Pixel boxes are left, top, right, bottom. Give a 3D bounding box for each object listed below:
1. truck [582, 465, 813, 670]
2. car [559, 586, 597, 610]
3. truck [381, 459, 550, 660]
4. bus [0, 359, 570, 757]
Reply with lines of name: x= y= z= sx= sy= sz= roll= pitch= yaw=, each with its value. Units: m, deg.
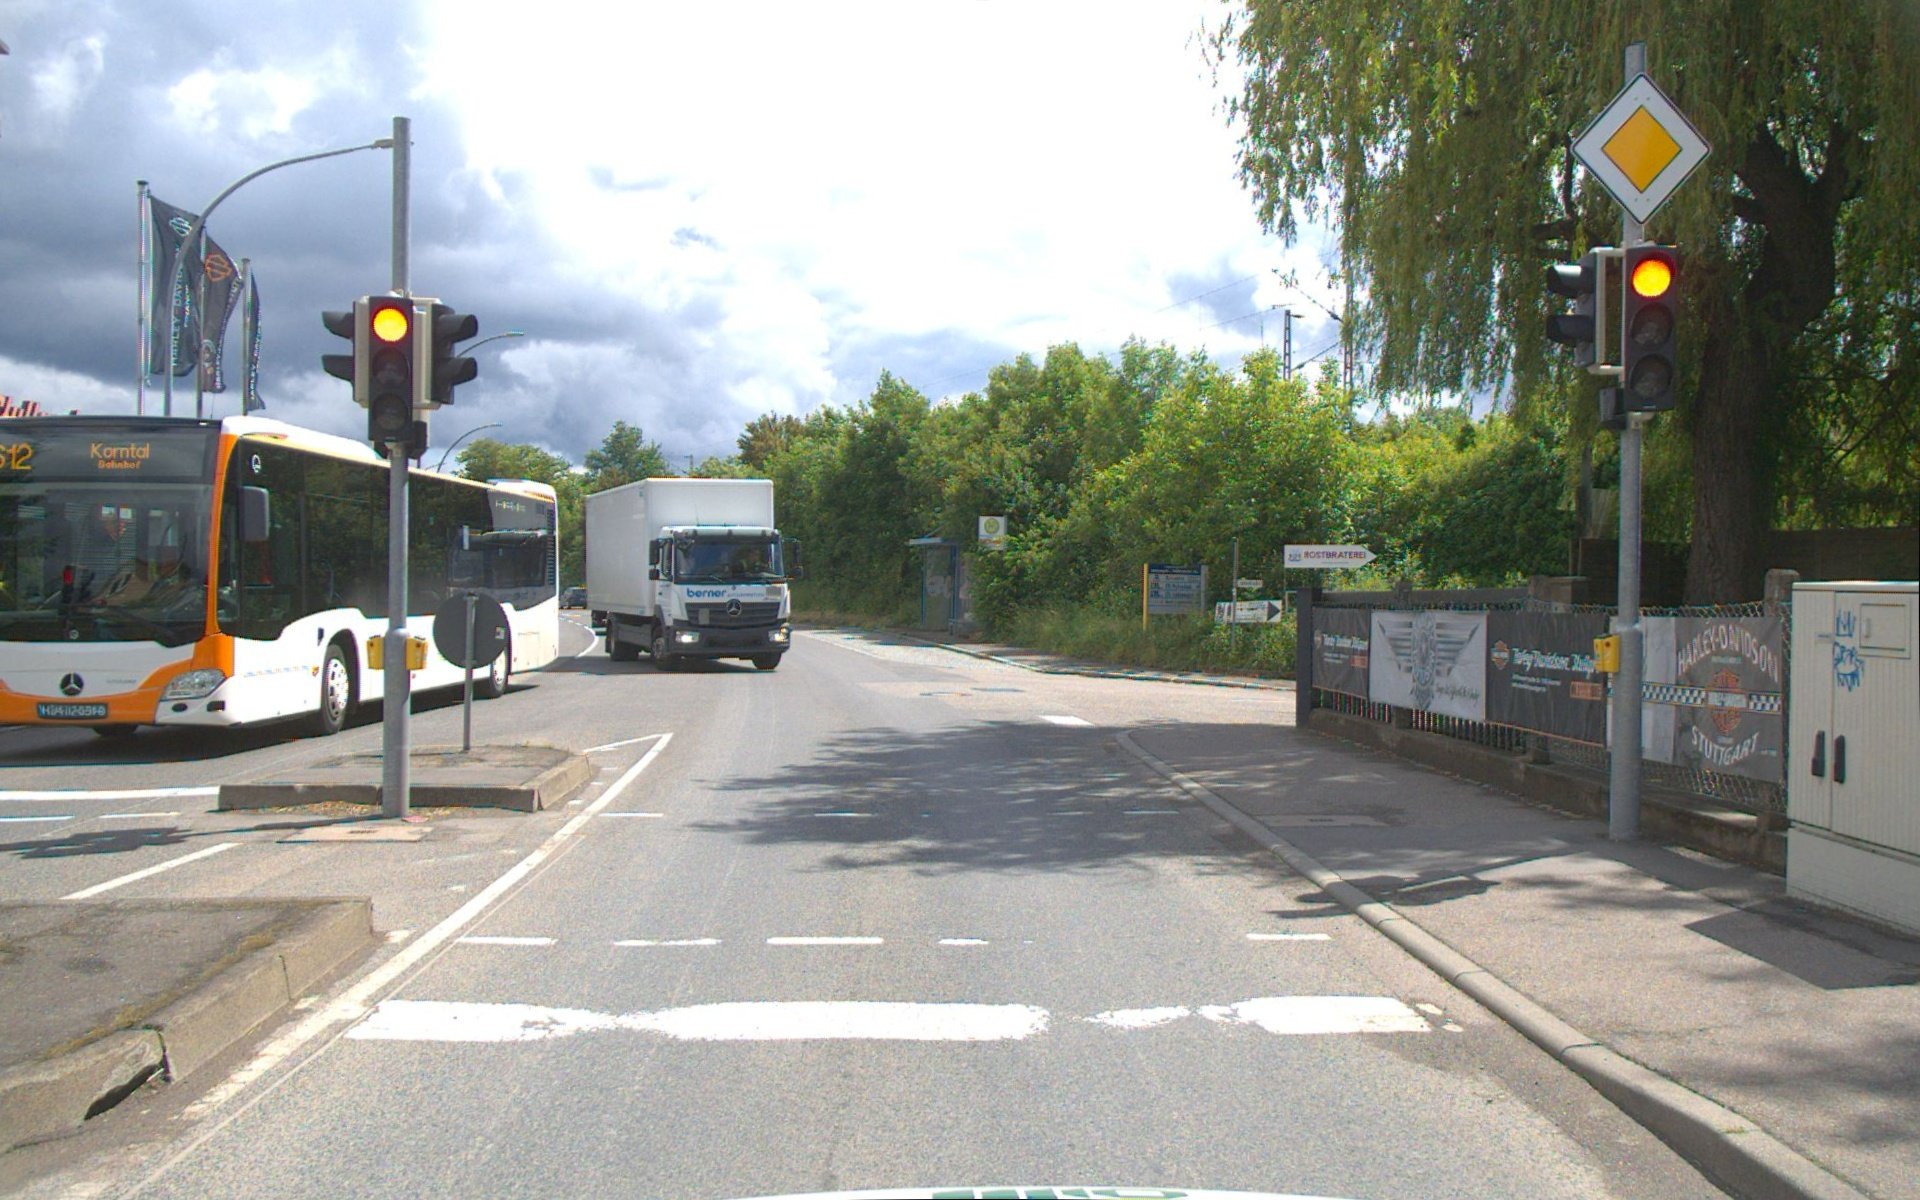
truck: x=-5.714 y=-0.603 z=34.202 sx=2.799 sy=3.602 sz=9.663 roll=0 pitch=0 yaw=-21
car: x=-25.249 y=-0.143 z=109.266 sx=1.858 sy=1.534 sz=3.974 roll=1 pitch=0 yaw=-22
truck: x=-11.729 y=-0.871 z=40.058 sx=2.383 sy=4.203 sz=9.133 roll=3 pitch=0 yaw=-8
bus: x=-7.489 y=-0.304 z=19.940 sx=2.721 sy=3.323 sz=12.121 roll=0 pitch=0 yaw=0
